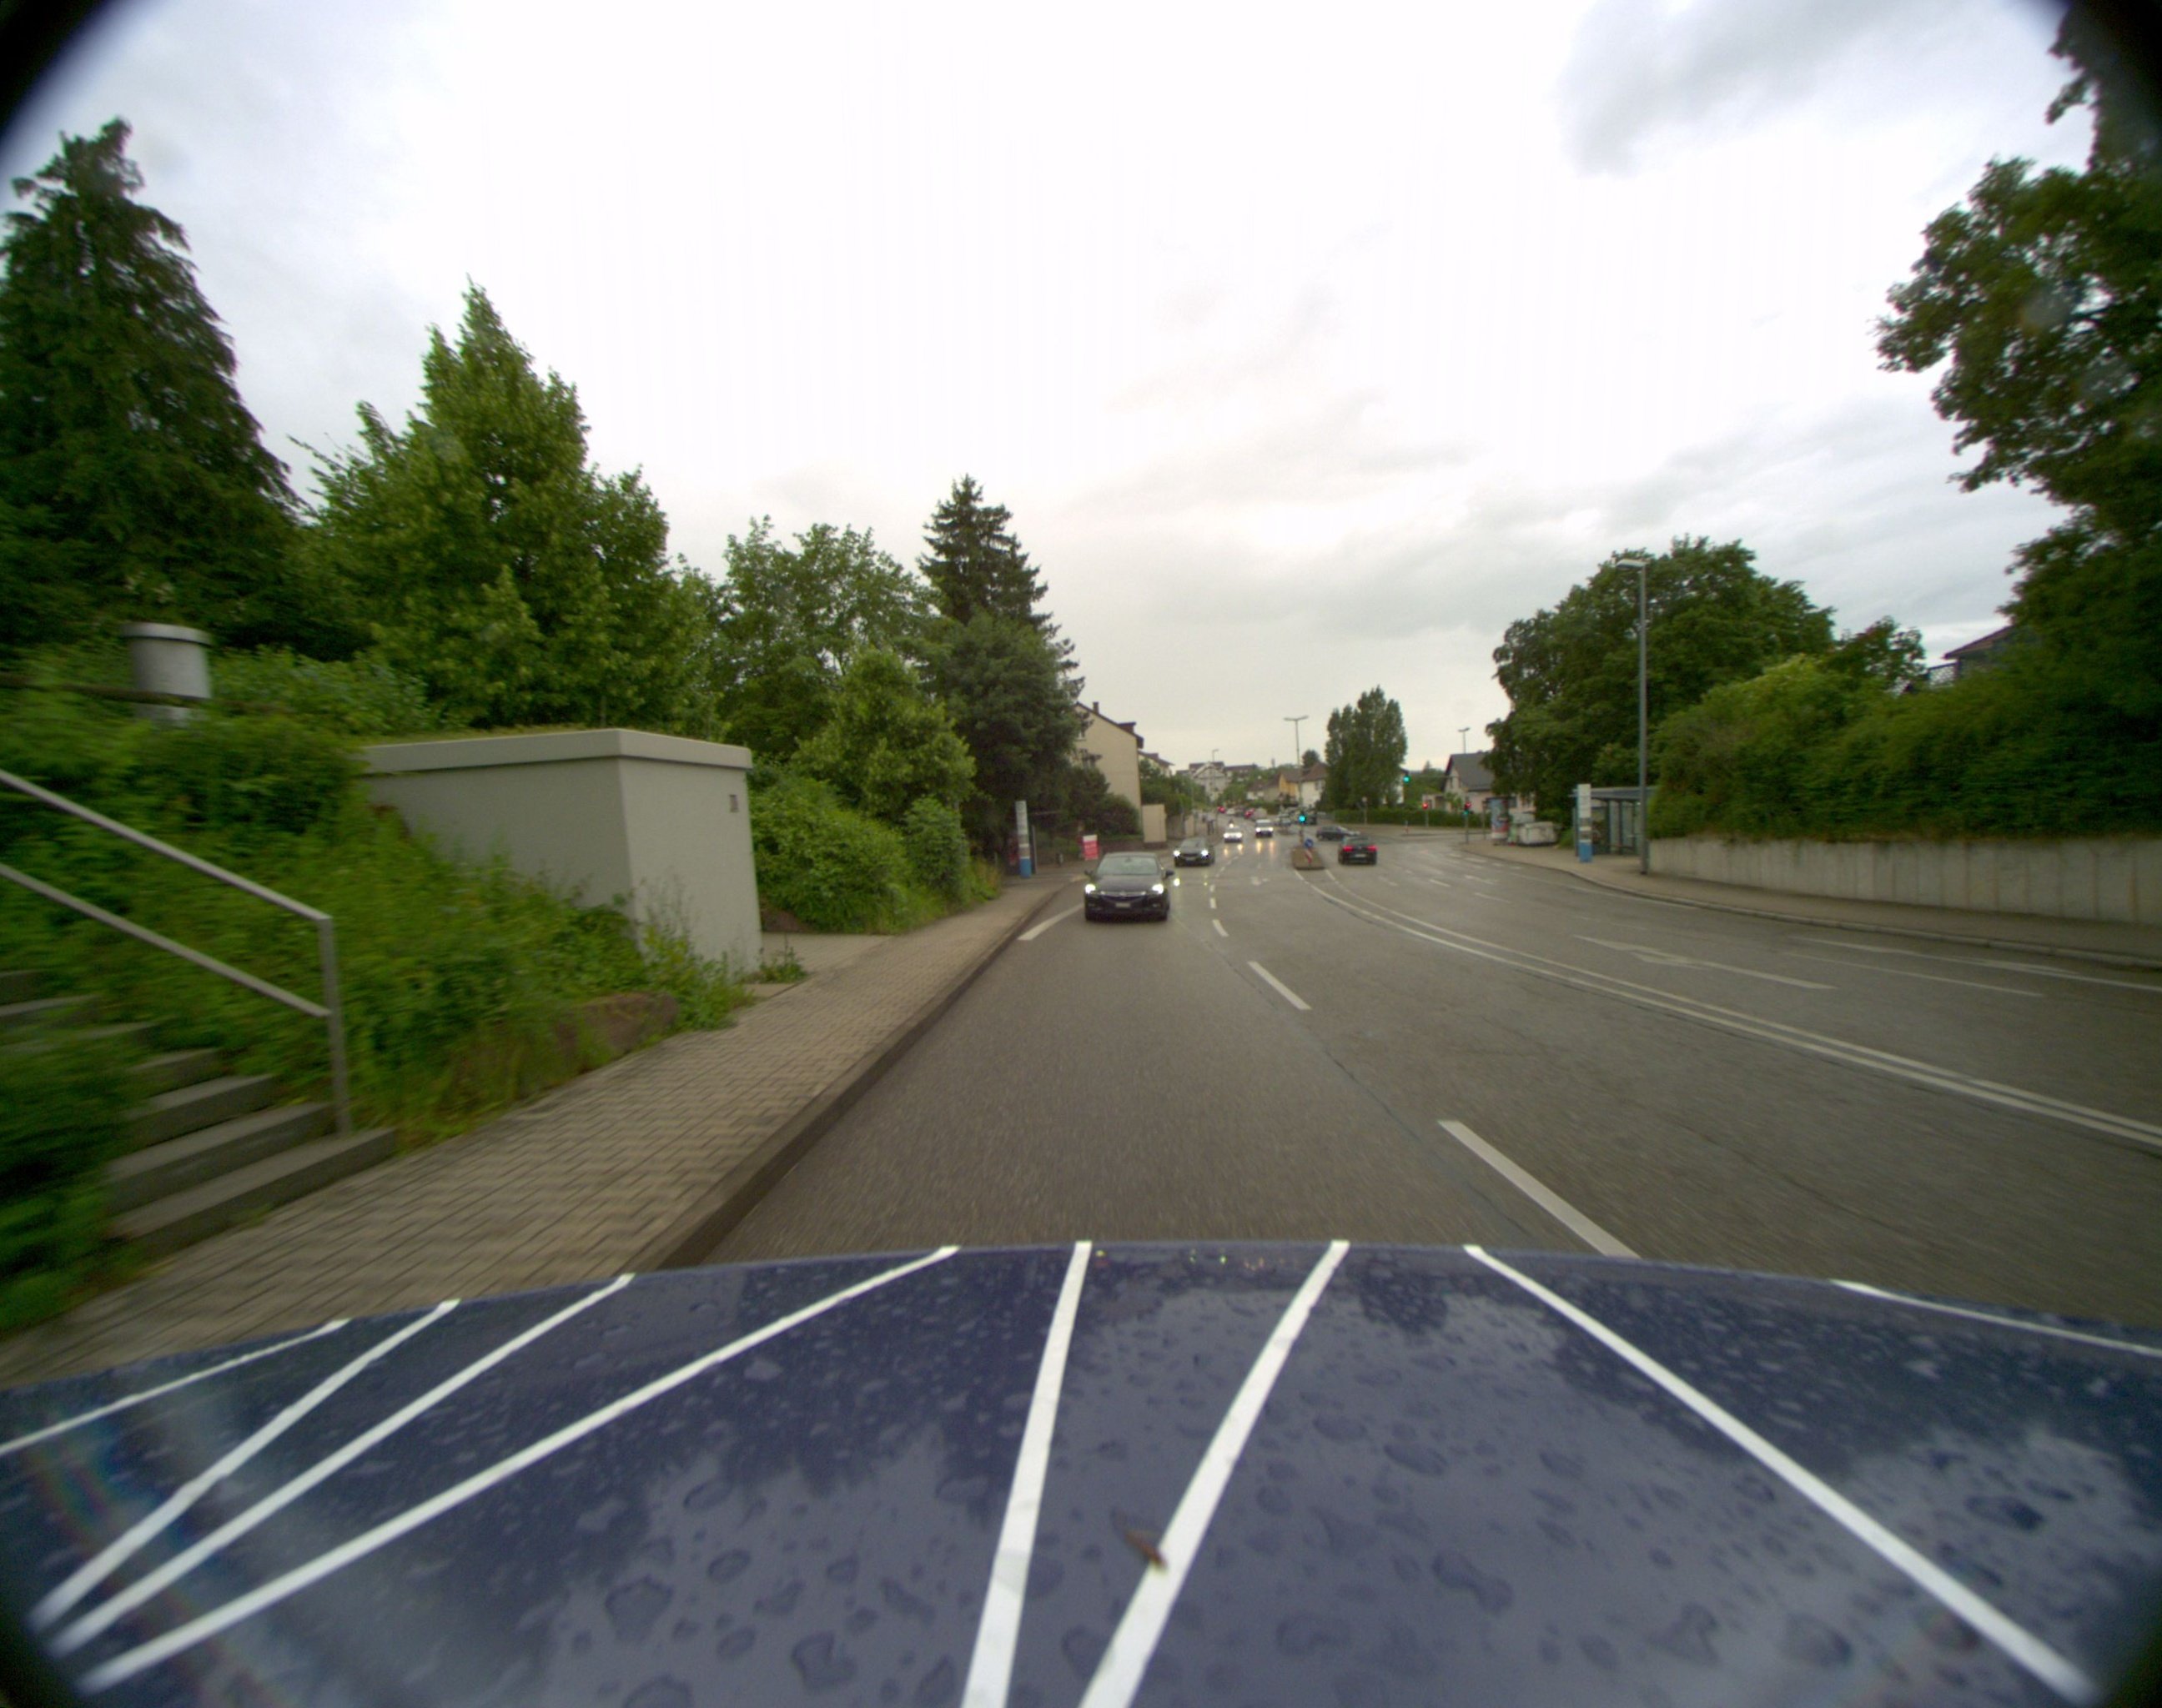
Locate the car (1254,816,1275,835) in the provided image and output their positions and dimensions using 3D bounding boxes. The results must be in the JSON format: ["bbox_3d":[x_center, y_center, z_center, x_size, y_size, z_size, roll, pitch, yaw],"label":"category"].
[{"bbox_3d":[20.416,-3.190,84.709,1.954,1.861,4.746,-1,5,10],"label":"car"}]

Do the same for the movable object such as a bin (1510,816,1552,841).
[{"bbox_3d":[29.971,-1.686,50.650,2.060,1.560,1.583,-1,3,17],"label":"movable object such as a bin"}]

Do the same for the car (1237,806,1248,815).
[{"bbox_3d":[33.706,-9.083,158.596,1.997,1.566,3.998,-2,5,7],"label":"car"}]

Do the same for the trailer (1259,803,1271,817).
[{"bbox_3d":[30.996,-7.408,128.096,1.899,2.167,4.037,-1,4,13],"label":"trailer"}]

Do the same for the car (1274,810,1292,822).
[{"bbox_3d":[29.547,-5.615,111.090,1.827,1.648,4.464,-2,4,5],"label":"car"}]

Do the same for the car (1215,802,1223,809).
[{"bbox_3d":[35.379,-12.484,195.318,1.715,1.495,3.998,-2,5,5],"label":"car"}]

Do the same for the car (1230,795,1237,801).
[{"bbox_3d":[47.602,-17.441,237.376,1.997,1.566,3.998,-2,5,6],"label":"car"}]

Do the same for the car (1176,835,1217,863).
[{"bbox_3d":[6.468,-0.305,42.271,1.838,1.449,4.004,-2,1,14],"label":"car"}]

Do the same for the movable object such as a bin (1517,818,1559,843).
[{"bbox_3d":[29.518,-1.528,49.123,2.060,1.560,1.583,-1,3,17],"label":"movable object such as a bin"}]

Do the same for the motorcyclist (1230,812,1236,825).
[{"bbox_3d":[20.399,-4.784,101.898,0.761,1.594,0.808,-2,6,12],"label":"motorcyclist"}]

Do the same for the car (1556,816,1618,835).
[{"bbox_3d":[48.281,-2.736,72.534,4.648,1.521,1.912,-3,5,-1],"label":"car"}]

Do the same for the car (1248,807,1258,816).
[{"bbox_3d":[32.510,-8.029,143.838,1.844,1.544,4.384,-1,4,12],"label":"car"}]

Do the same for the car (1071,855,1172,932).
[{"bbox_3d":[1.004,0.764,16.483,1.839,1.390,4.002,-2,0,7],"label":"car"}]

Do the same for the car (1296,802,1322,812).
[{"bbox_3d":[41.107,-8.466,137.089,3.995,1.413,1.883,-5,4,6],"label":"car"}]

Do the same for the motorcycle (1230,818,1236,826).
[{"bbox_3d":[20.441,-4.260,101.974,0.762,0.948,2.442,-2,5,11],"label":"motorcycle"}]

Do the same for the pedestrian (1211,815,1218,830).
[{"bbox_3d":[16.306,-3.852,92.620,0.795,1.771,1.011,0,5,12],"label":"pedestrian"}]

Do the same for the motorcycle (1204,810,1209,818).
[{"bbox_3d":[22.119,-7.010,133.717,0.693,1.318,2.478,-2,5,5],"label":"motorcycle"}]

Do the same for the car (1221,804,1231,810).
[{"bbox_3d":[35.959,-11.629,188.475,1.857,1.456,3.998,-3,4,5],"label":"car"}]

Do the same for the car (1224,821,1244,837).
[{"bbox_3d":[15.519,-2.529,77.124,1.839,1.473,4.000,-1,3,10],"label":"car"}]

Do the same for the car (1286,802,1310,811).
[{"bbox_3d":[42.048,-9.165,147.108,4.107,1.413,1.883,-4,4,6],"label":"car"}]

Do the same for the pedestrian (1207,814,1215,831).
[{"bbox_3d":[15.593,-3.792,90.901,0.798,2.003,0.734,-2,5,12],"label":"pedestrian"}]

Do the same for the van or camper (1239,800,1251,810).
[{"bbox_3d":[39.584,-11.893,183.738,2.189,2.004,5.131,-2,5,5],"label":"van or camper"}]

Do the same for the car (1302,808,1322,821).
[{"bbox_3d":[33.248,-5.684,109.464,1.808,1.661,4.596,-2,5,6],"label":"car"}]

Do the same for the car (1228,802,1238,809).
[{"bbox_3d":[34.661,-11.080,173.260,1.839,1.548,4.769,-1,5,8],"label":"car"}]

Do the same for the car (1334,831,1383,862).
[{"bbox_3d":[14.578,-0.425,40.138,1.895,1.479,4.236,-1,2,13],"label":"car"}]

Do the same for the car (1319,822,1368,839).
[{"bbox_3d":[25.201,-2.267,72.973,1.843,1.480,4.046,-6,6,-38],"label":"car"}]

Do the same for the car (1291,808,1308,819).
[{"bbox_3d":[33.444,-6.209,116.203,1.808,1.560,4.141,-2,5,6],"label":"car"}]

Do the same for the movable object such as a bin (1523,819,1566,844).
[{"bbox_3d":[29.063,-1.437,47.706,2.060,1.506,1.345,-1,3,17],"label":"movable object such as a bin"}]
